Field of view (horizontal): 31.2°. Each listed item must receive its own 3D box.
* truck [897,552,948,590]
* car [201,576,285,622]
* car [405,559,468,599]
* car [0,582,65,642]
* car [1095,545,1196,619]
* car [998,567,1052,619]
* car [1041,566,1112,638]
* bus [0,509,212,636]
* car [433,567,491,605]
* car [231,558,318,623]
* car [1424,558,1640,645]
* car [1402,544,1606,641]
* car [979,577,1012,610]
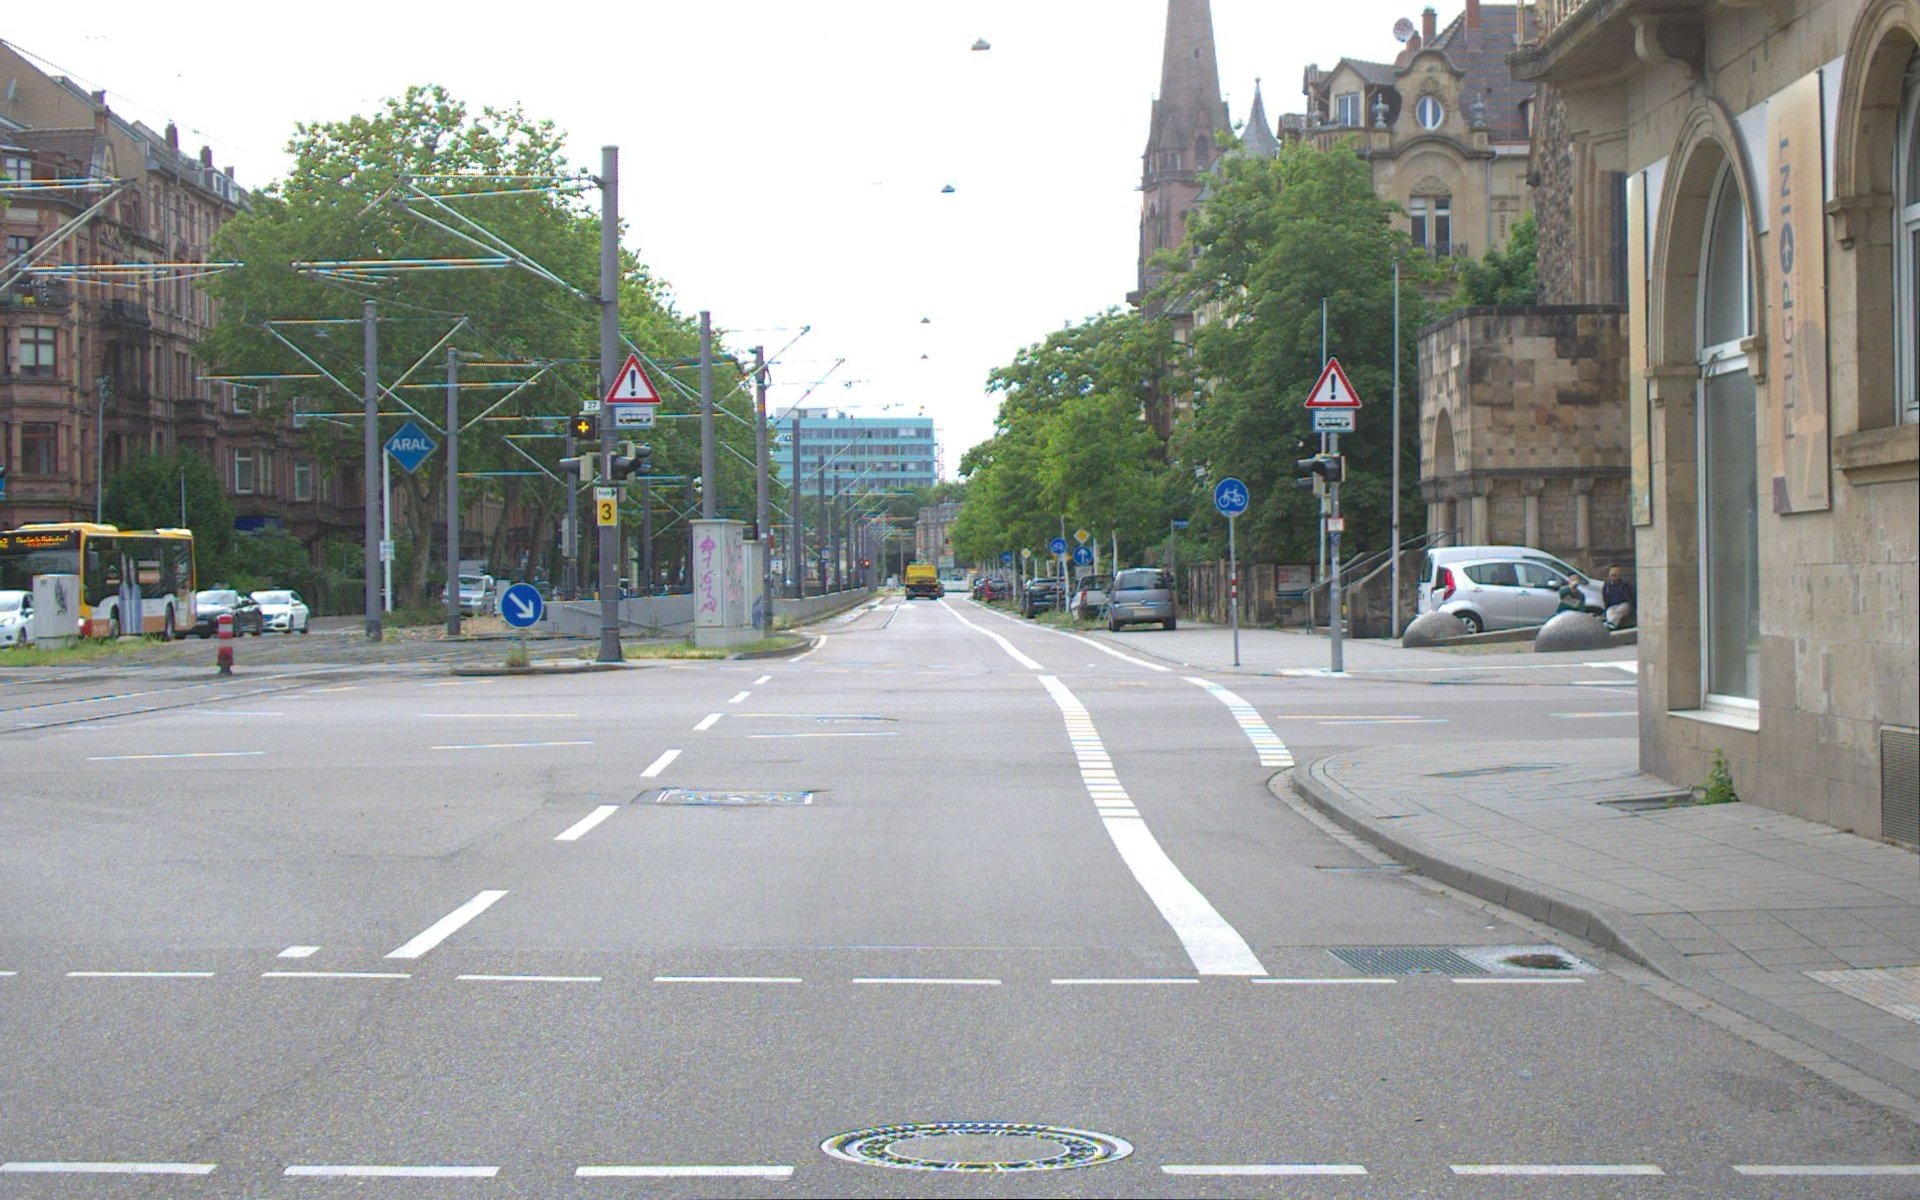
[{"bbox_3d":[-2.788,-2.186,258.830,3.055,2.759,9.814,0,1,4],"label":"truck"},{"bbox_3d":[-21.303,-0.046,102.243,1.656,1.316,3.638,1,1,1],"label":"car"},{"bbox_3d":[-21.525,-0.876,141.510,1.993,1.605,4.000,1,1,-1],"label":"car"},{"bbox_3d":[-21.907,0.264,79.035,1.656,1.316,3.638,1,1,1],"label":"car"},{"bbox_3d":[4.873,-0.475,89.970,1.994,1.849,4.024,1,1,12],"label":"car"},{"bbox_3d":[2.550,-0.279,136.009,1.993,2.007,4.000,1,1,-1],"label":"car"},{"bbox_3d":[3.351,0.029,99.651,1.993,2.007,4.000,1,1,1],"label":"car"},{"bbox_3d":[-22.473,-0.726,89.084,3.231,3.025,12.311,1,1,1],"label":"bus"},{"bbox_3d":[-21.615,-0.636,149.327,1.993,1.605,4.000,1,1,-1],"label":"car"},{"bbox_3d":[-21.830,-0.317,109.592,1.993,2.007,4.000,1,1,-1],"label":"car"},{"bbox_3d":[10.766,0.014,64.903,3.713,1.558,2.000,1,0,0],"label":"car"},{"bbox_3d":[10.795,-0.164,68.390,3.713,1.849,2.000,1,0,0],"label":"car"},{"bbox_3d":[2.218,-0.408,216.823,1.993,2.007,4.000,1,1,-1],"label":"car"}]
